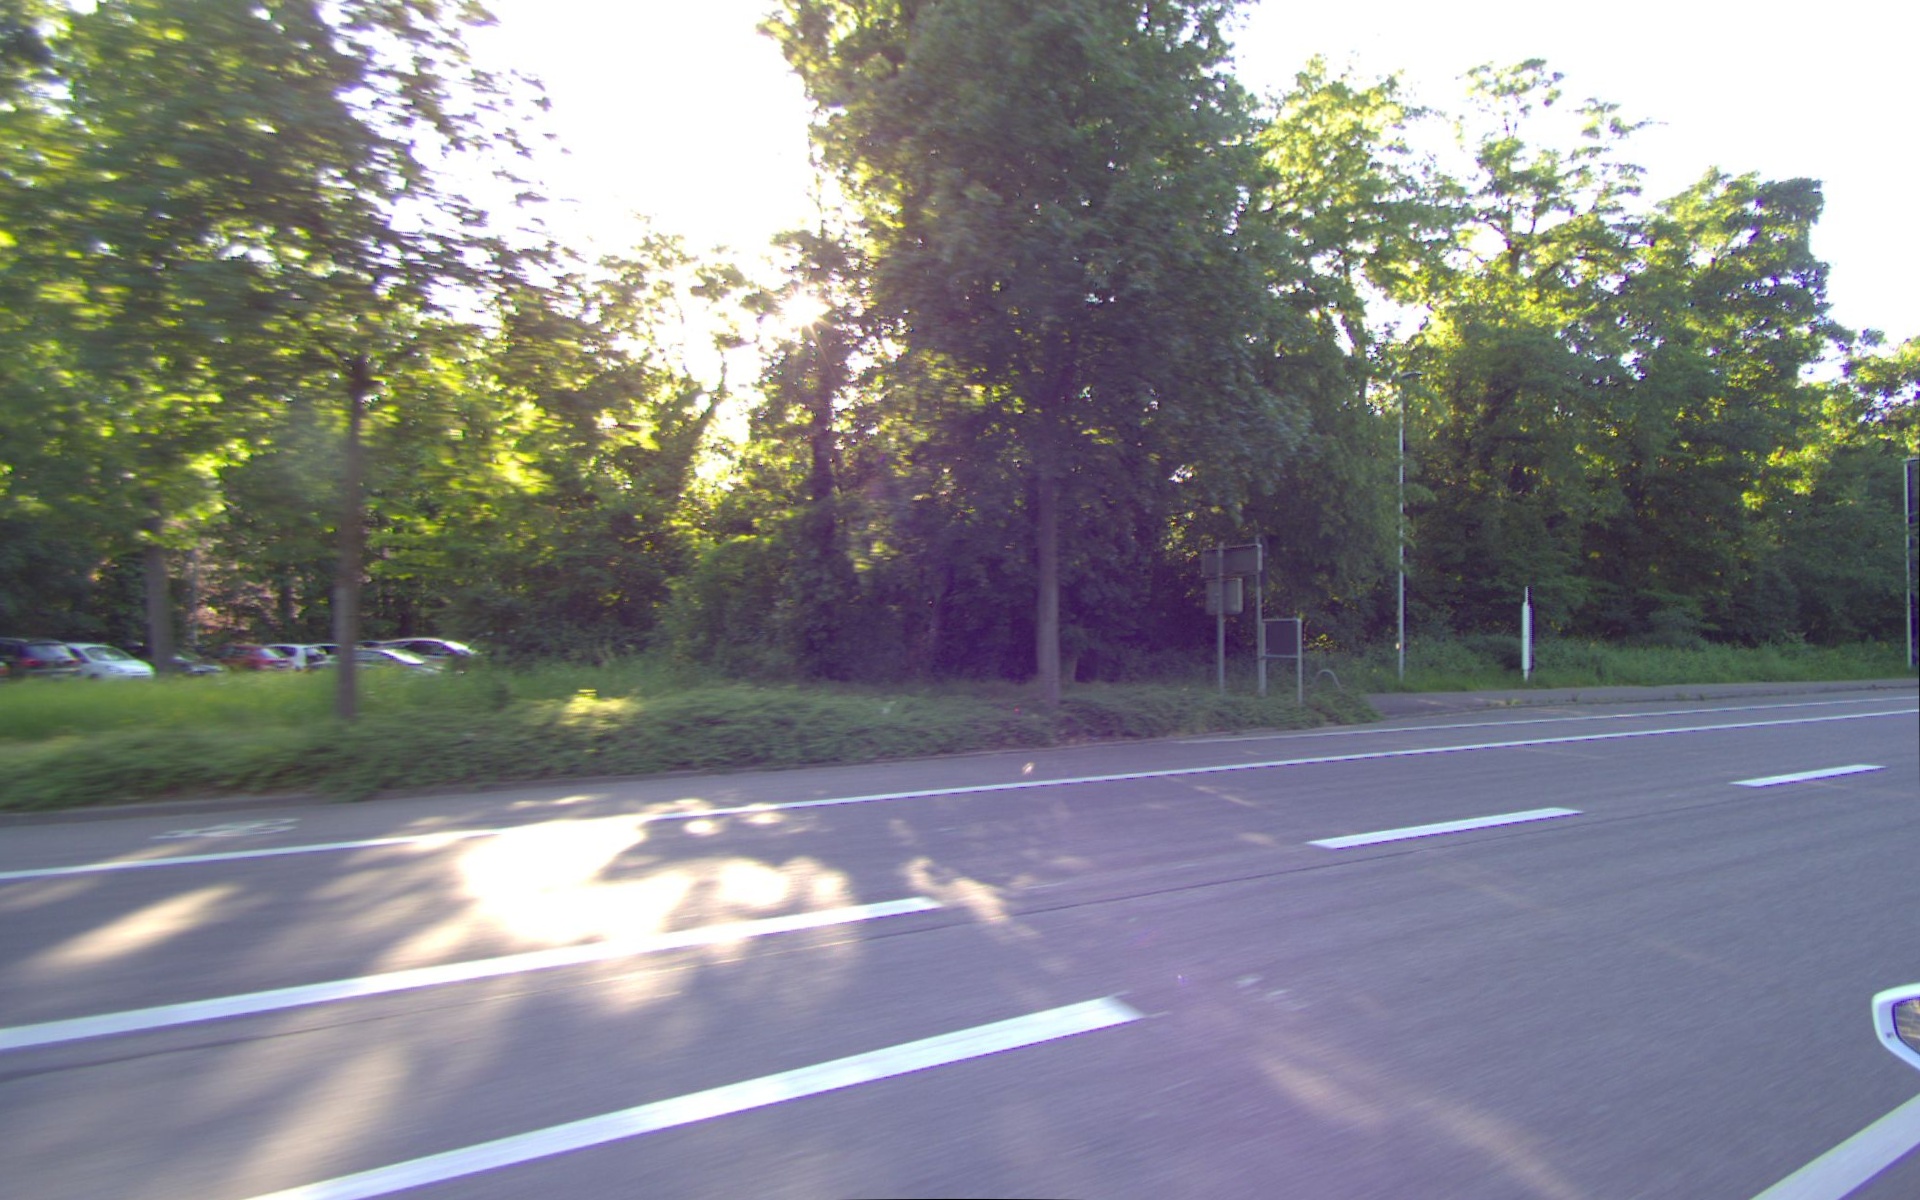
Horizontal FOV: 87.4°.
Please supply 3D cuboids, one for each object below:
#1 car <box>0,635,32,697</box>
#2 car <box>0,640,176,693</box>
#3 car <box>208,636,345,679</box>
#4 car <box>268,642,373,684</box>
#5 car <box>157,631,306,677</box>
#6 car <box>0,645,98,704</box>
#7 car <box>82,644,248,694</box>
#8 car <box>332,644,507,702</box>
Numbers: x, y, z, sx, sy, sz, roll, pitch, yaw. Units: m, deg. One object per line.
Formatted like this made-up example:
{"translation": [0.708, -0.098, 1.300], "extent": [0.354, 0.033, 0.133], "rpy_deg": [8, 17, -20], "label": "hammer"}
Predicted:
{"translation": [-28.124, 1.784, 27.230], "extent": [4.206, 1.674, 1.832], "rpy_deg": [0, -5, 2], "label": "car"}
{"translation": [-28.189, 2.169, 32.468], "extent": [4.206, 1.674, 1.832], "rpy_deg": [0, -5, 2], "label": "car"}
{"translation": [-27.374, 2.327, 40.305], "extent": [4.206, 1.674, 1.832], "rpy_deg": [0, -5, 2], "label": "car"}
{"translation": [-27.344, 2.683, 42.980], "extent": [3.540, 1.750, 1.570], "rpy_deg": [0, -2, 6], "label": "car"}
{"translation": [-27.341, 2.062, 37.800], "extent": [4.206, 1.674, 1.832], "rpy_deg": [0, -5, 2], "label": "car"}
{"translation": [-28.259, 2.194, 29.517], "extent": [4.206, 1.674, 1.832], "rpy_deg": [0, -5, 2], "label": "car"}
{"translation": [-27.361, 2.404, 34.668], "extent": [4.206, 1.674, 1.832], "rpy_deg": [0, -5, 2], "label": "car"}
{"translation": [-16.005, 2.147, 29.904], "extent": [4.206, 1.675, 1.832], "rpy_deg": [0, -2, 2], "label": "car"}
